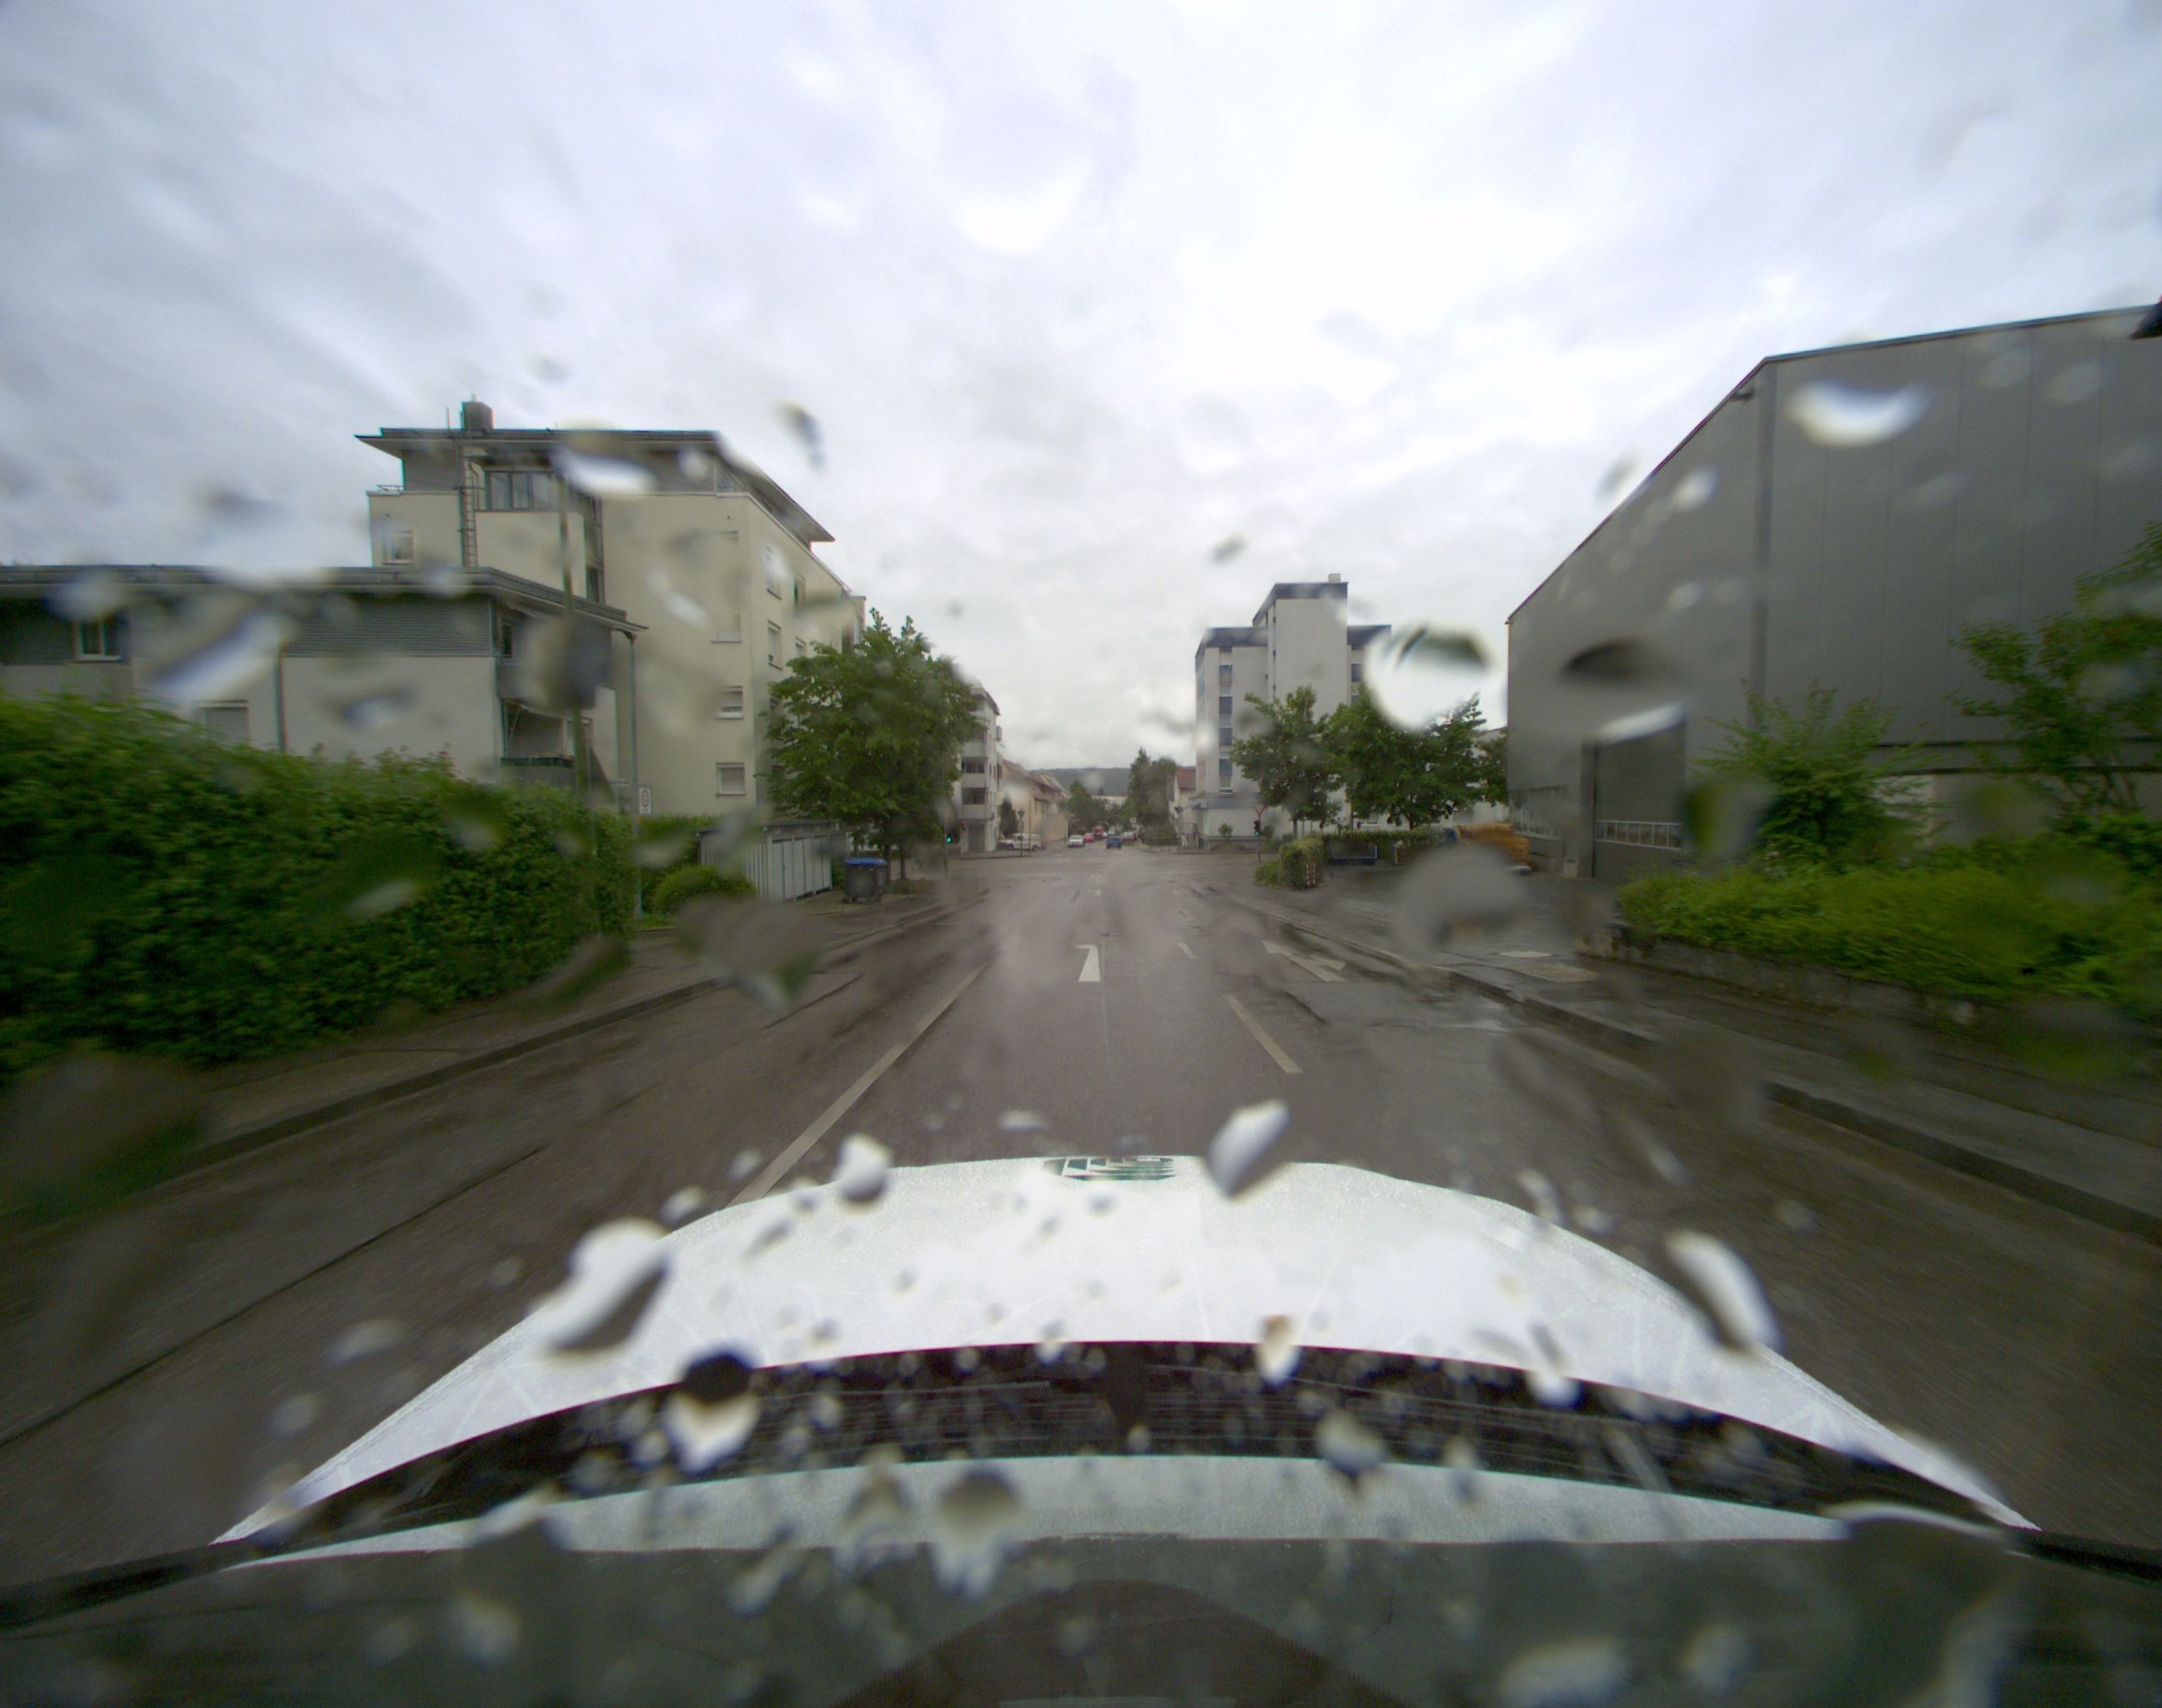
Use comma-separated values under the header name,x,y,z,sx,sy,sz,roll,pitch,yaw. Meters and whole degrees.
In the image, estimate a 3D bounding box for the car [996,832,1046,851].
name,x,y,z,sx,sy,sz,roll,pitch,yaw
car,-6.201,-1.292,84.246,4.866,1.835,1.978,-3,2,-36

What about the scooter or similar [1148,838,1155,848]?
name,x,y,z,sx,sy,sz,roll,pitch,yaw
scooter or similar,8.377,-1.312,96.404,0.753,1.171,1.316,-2,1,4

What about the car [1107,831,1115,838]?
name,x,y,z,sx,sy,sz,roll,pitch,yaw
car,7.062,-4.569,190.954,1.894,1.558,4.195,-2,1,3

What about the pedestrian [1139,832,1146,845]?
name,x,y,z,sx,sy,sz,roll,pitch,yaw
pedestrian,8.926,-2.250,118.341,0.747,1.848,0.523,2,0,-14

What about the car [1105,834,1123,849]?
name,x,y,z,sx,sy,sz,roll,pitch,yaw
car,3.916,-1.476,97.613,1.987,1.683,4.000,-2,1,0

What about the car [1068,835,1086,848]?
name,x,y,z,sx,sy,sz,roll,pitch,yaw
car,-0.533,-1.611,104.390,1.985,1.625,4.195,-2,1,3

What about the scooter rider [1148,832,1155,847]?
name,x,y,z,sx,sy,sz,roll,pitch,yaw
scooter rider,8.366,-1.751,96.353,0.748,1.795,0.674,-2,1,4

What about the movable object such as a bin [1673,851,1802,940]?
name,x,y,z,sx,sy,sz,roll,pitch,yaw
movable object such as a bin,12.079,0.734,15.095,1.252,1.518,1.787,-2,0,17

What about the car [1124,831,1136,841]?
name,x,y,z,sx,sy,sz,roll,pitch,yaw
car,8.376,-3.084,139.867,1.894,1.745,4.195,-2,1,3

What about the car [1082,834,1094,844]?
name,x,y,z,sx,sy,sz,roll,pitch,yaw
car,1.165,-2.628,140.833,1.894,1.558,4.195,-2,1,3

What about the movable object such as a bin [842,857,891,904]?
name,x,y,z,sx,sy,sz,roll,pitch,yaw
movable object such as a bin,-6.346,0.771,24.152,1.068,1.347,1.319,1,0,0

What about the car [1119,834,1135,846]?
name,x,y,z,sx,sy,sz,roll,pitch,yaw
car,6.643,-2.021,117.932,2.137,1.589,4.131,-2,1,3

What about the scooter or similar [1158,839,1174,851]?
name,x,y,z,sx,sy,sz,roll,pitch,yaw
scooter or similar,7.808,-0.826,74.811,1.265,1.081,0.876,-2,1,-3

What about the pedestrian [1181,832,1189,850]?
name,x,y,z,sx,sy,sz,roll,pitch,yaw
pedestrian,9.676,-1.240,75.941,0.646,1.647,0.525,2,0,-4
